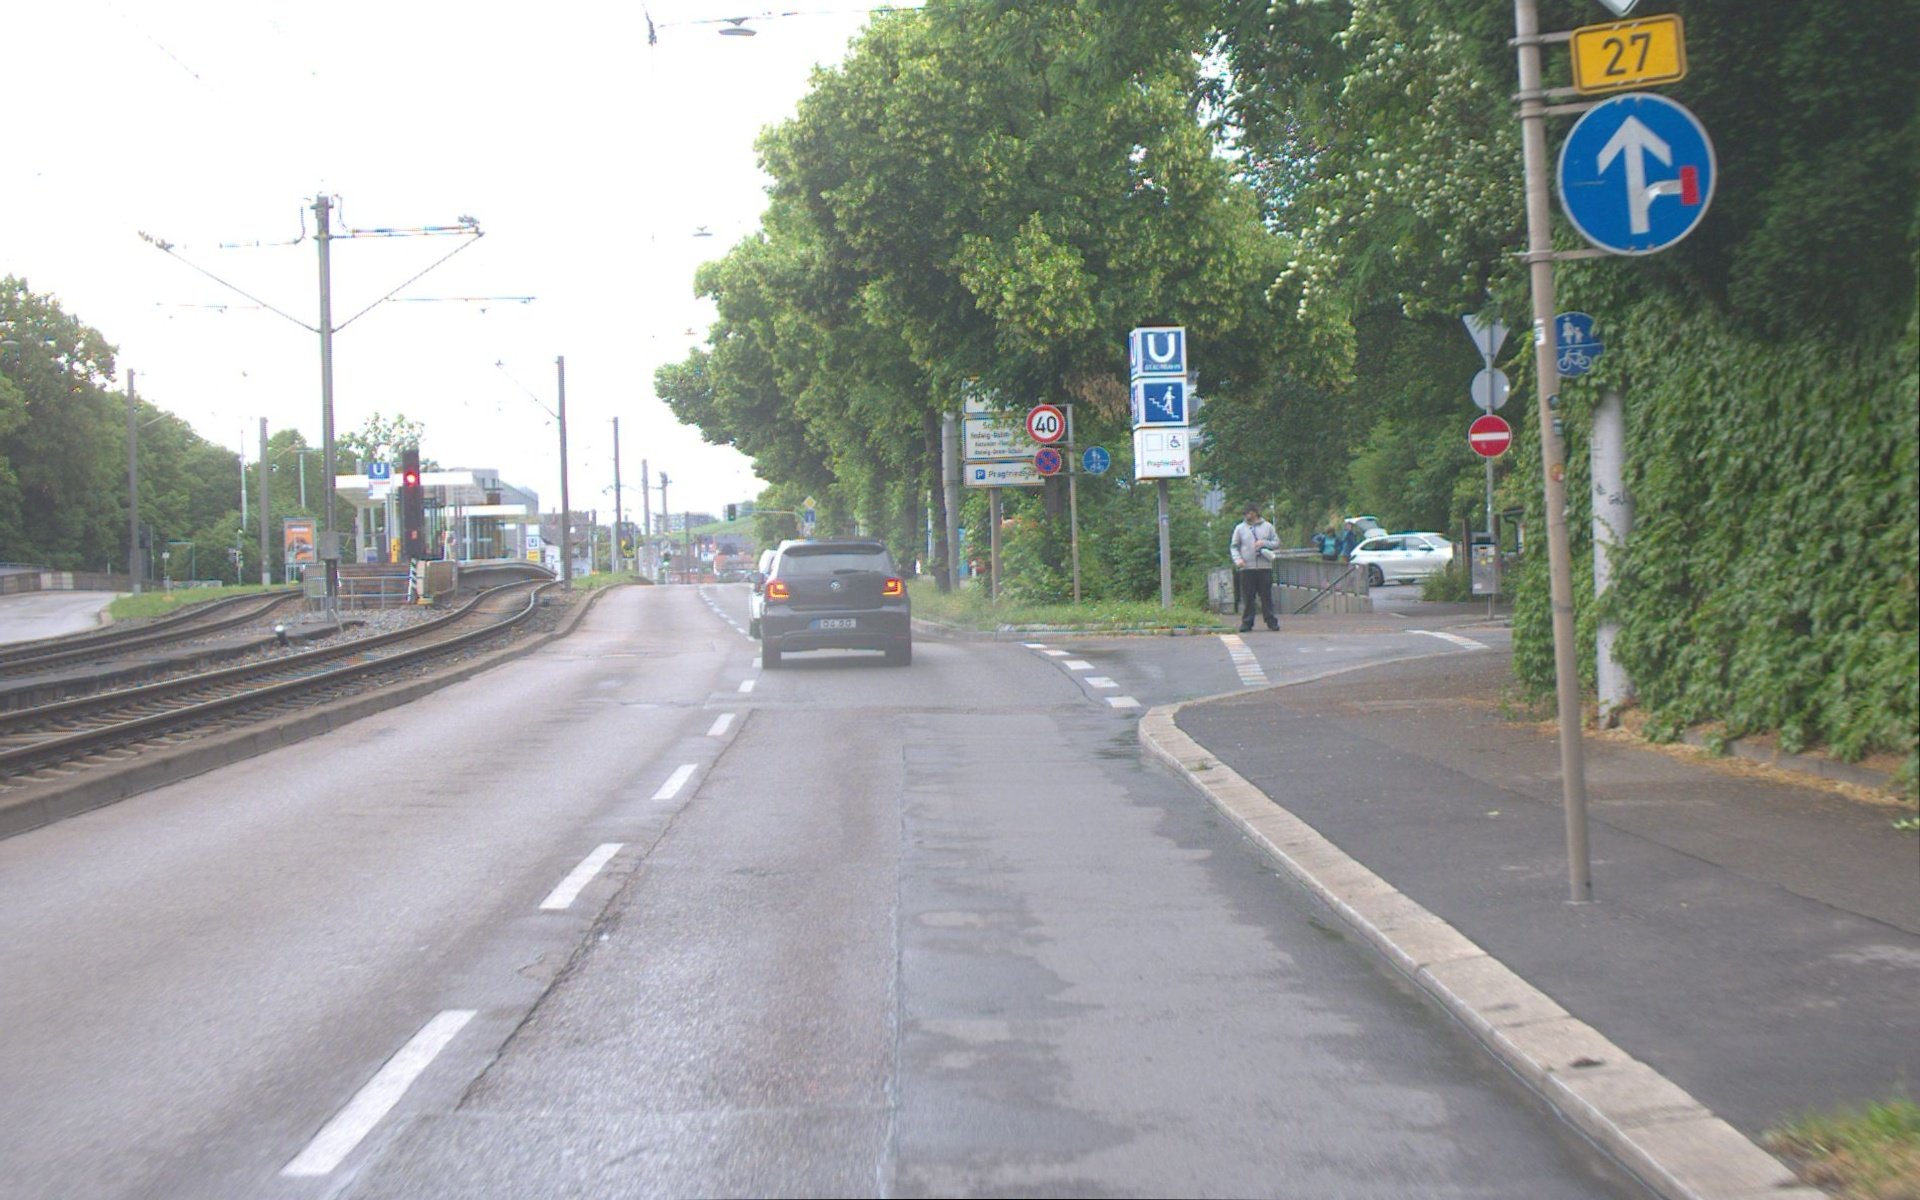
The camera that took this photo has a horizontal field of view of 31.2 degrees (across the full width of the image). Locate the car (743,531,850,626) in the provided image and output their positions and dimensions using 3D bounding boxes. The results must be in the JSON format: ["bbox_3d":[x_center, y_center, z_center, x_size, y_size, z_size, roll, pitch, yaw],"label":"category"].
[{"bbox_3d":[-2.828,-0.390,58.922,1.687,1.512,4.001,-1,1,-4],"label":"car"}]

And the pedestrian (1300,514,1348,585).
[{"bbox_3d":[10.339,-1.431,97.605,0.960,2.007,0.951,-1,1,-28],"label":"pedestrian"}]

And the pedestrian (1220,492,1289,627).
[{"bbox_3d":[4.088,-0.563,47.737,0.855,1.847,0.737,-1,1,-1],"label":"pedestrian"}]

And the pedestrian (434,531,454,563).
[{"bbox_3d":[-20.055,-2.066,133.711,0.710,1.221,0.619,-1,1,-4],"label":"pedestrian"}]

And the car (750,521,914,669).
[{"bbox_3d":[-1.468,-0.098,38.901,1.726,1.535,4.001,-1,1,-3],"label":"car"}]

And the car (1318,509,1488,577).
[{"bbox_3d":[12.507,-1.630,97.216,1.941,1.828,4.465,0,2,-45],"label":"car"}]
